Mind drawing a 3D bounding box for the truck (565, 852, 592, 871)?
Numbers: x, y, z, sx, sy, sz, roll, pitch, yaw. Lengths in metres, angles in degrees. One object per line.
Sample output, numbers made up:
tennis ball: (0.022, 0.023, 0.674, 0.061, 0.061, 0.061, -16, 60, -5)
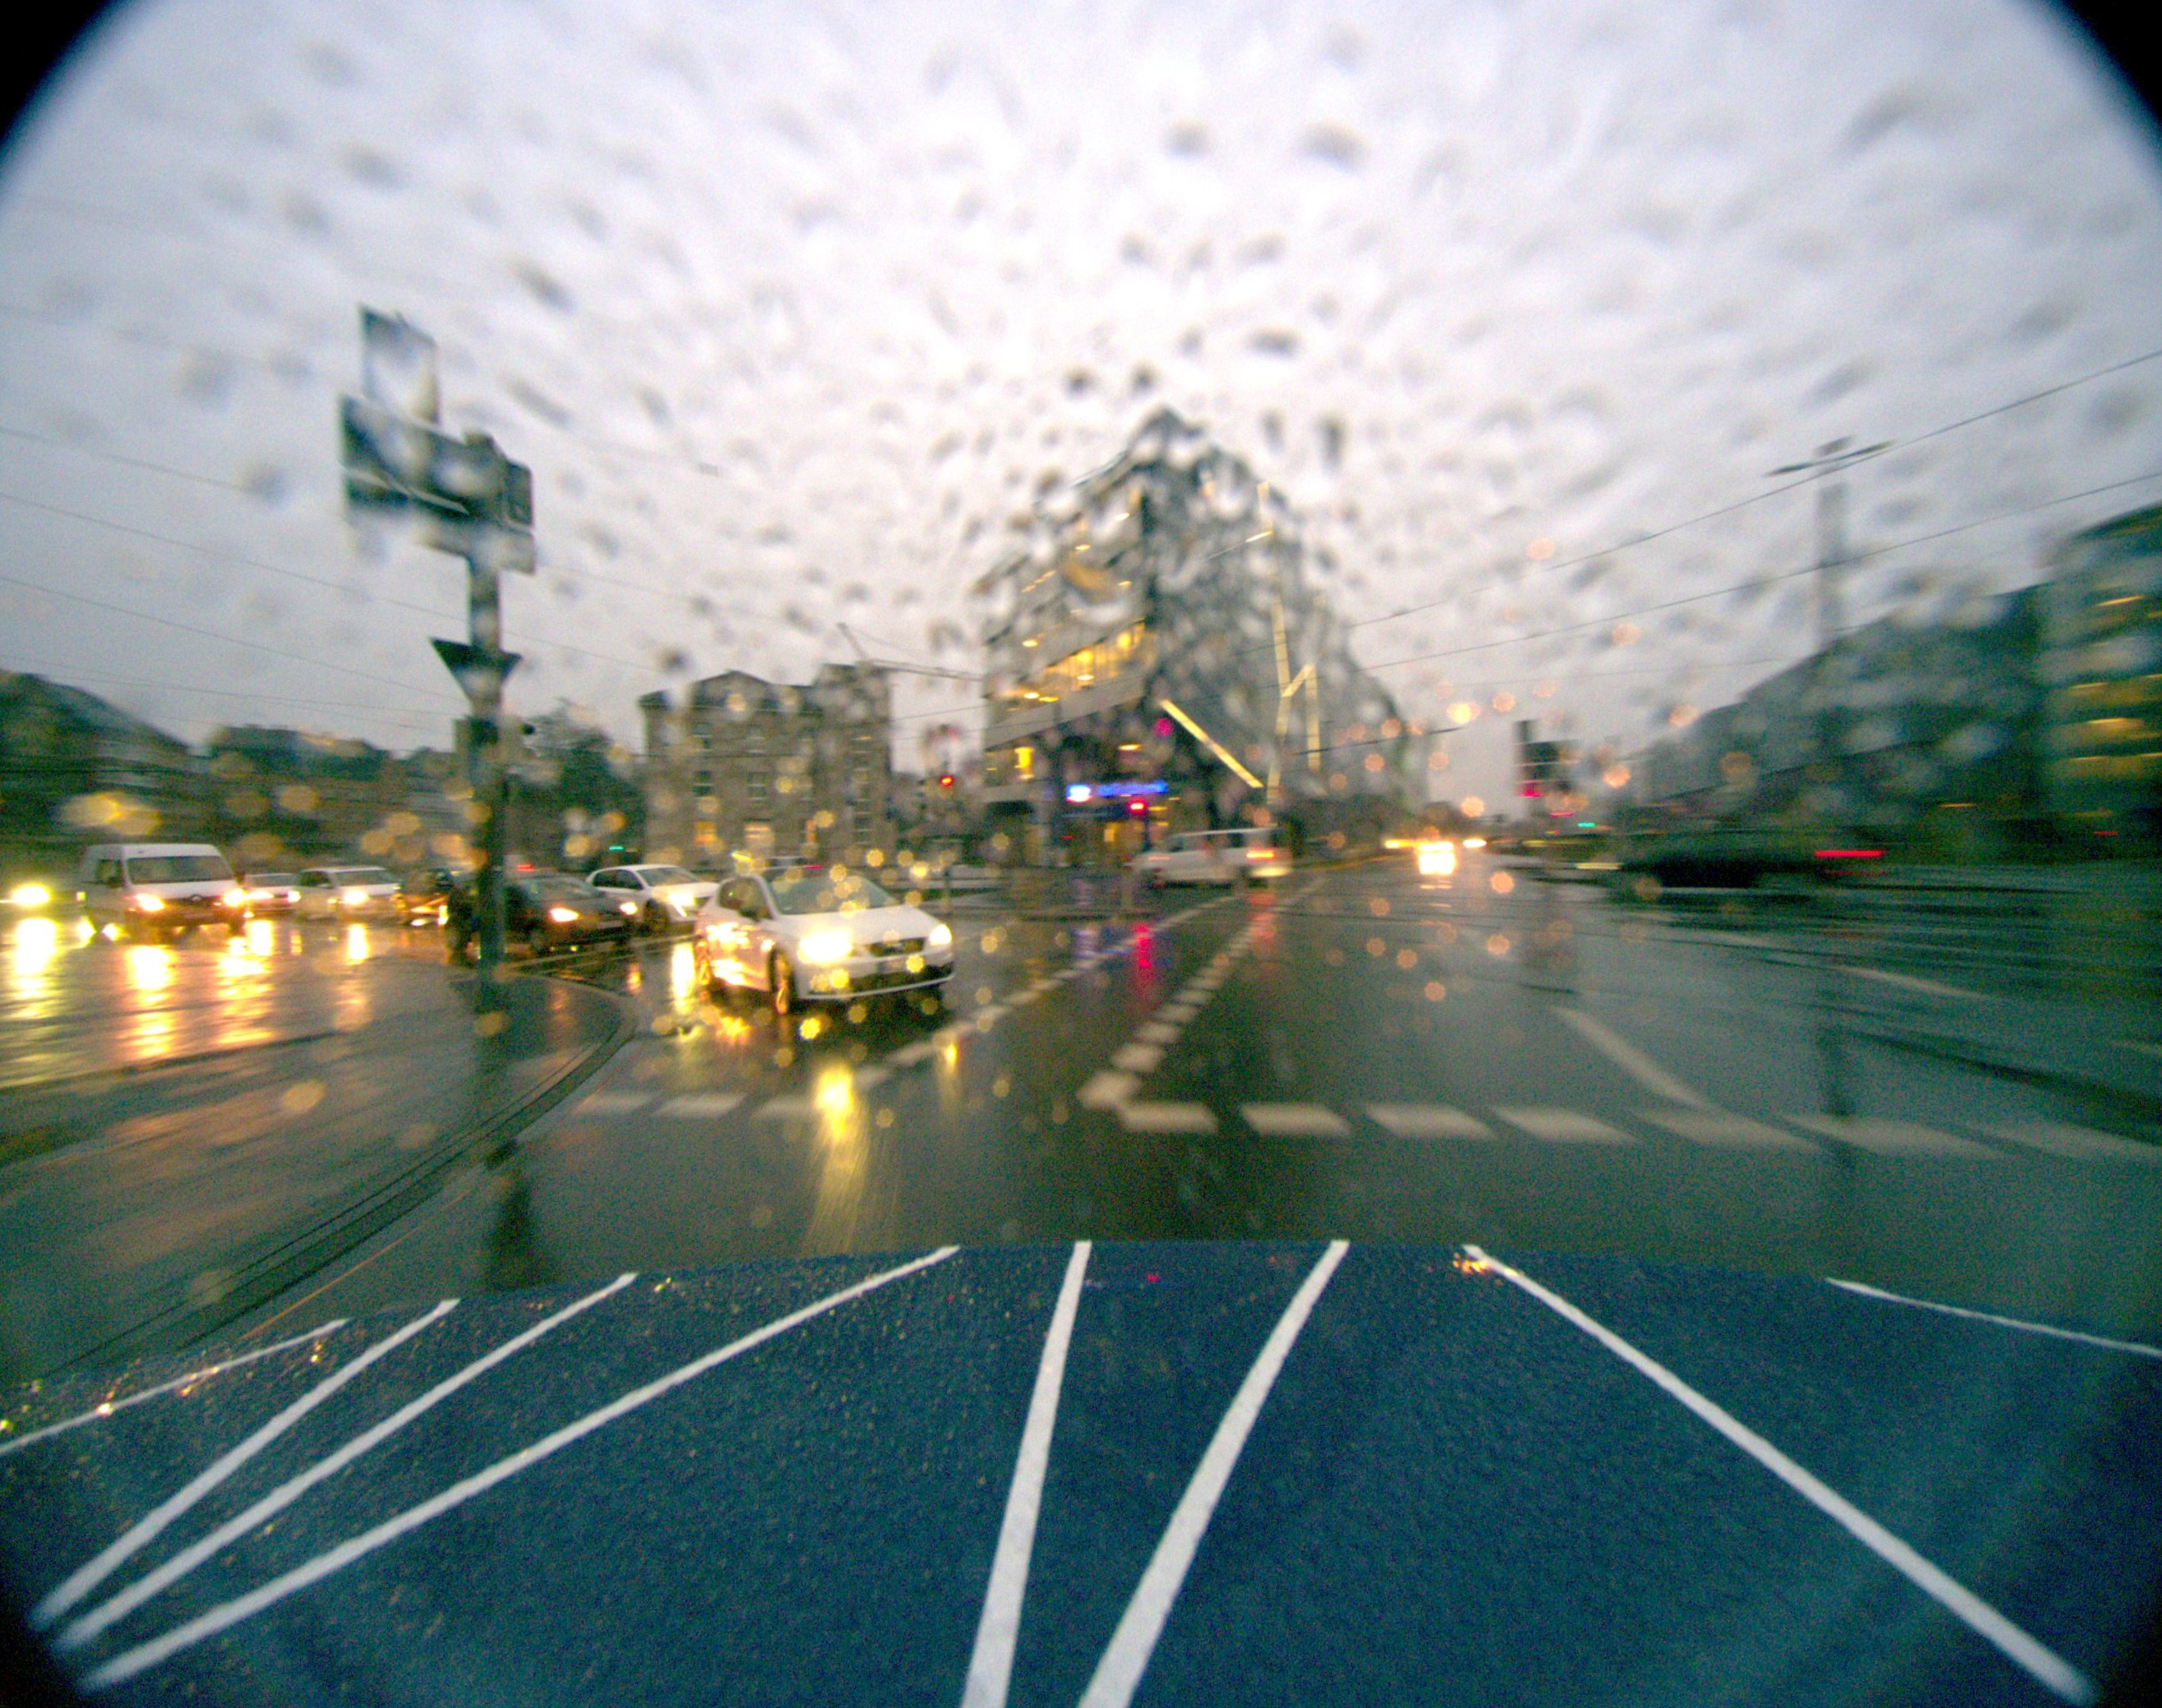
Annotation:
truck: (-56.545, 0.795, 85.549, 1.841, 2.032, 3.992, -2, 1, -24)

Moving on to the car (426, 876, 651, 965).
car: (-10.135, 1.146, 14.195, 3.812, 1.380, 1.727, -1, 2, 26)

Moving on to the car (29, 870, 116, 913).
car: (-40.958, 1.468, 30.847, 3.995, 1.590, 1.906, -1, 1, 35)

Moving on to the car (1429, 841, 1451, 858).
car: (36.352, -0.469, 76.848, 1.829, 1.652, 4.007, -1, 1, 28)

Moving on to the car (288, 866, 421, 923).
car: (-22.716, 1.230, 23.728, 4.212, 1.590, 1.679, -1, 1, 28)

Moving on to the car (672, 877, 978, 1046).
car: (-3.174, 1.012, 8.861, 1.792, 1.371, 4.211, -4, 2, -42)

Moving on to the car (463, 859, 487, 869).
car: (-83.323, 1.348, 104.439, 1.755, 1.362, 3.607, -2, 1, -25)

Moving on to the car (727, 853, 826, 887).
car: (-14.330, 0.758, 35.768, 4.330, 1.477, 1.869, -1, 1, 26)

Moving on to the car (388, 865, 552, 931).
car: (-16.659, 1.142, 20.705, 4.350, 1.561, 1.830, -1, 1, 27)

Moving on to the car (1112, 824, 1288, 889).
car: (4.031, 0.090, 26.224, 5.645, 2.047, 1.957, -1, 1, 33)

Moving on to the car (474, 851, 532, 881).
car: (-38.632, 0.781, 50.726, 4.948, 1.861, 1.909, -1, 2, 39)

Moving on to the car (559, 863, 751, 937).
car: (-9.786, 1.006, 17.470, 3.908, 1.455, 1.766, -1, 3, 24)

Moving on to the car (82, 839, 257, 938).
car: (-25.779, 0.882, 21.441, 5.654, 2.449, 2.247, -1, 2, 31)

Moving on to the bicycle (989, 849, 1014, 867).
bicycle: (-5.228, 0.265, 49.872, 1.499, 1.121, 0.527, -2, 1, -25)

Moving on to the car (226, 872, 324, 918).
car: (-28.535, 1.408, 26.888, 3.337, 1.422, 1.693, -1, 2, 32)

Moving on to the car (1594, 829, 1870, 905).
car: (14.016, 0.256, 16.569, 1.632, 1.436, 4.411, -2, 1, -43)

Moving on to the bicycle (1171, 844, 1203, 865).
bicycle: (5.909, 0.026, 42.347, 1.597, 1.064, 0.643, -2, 1, 28)
